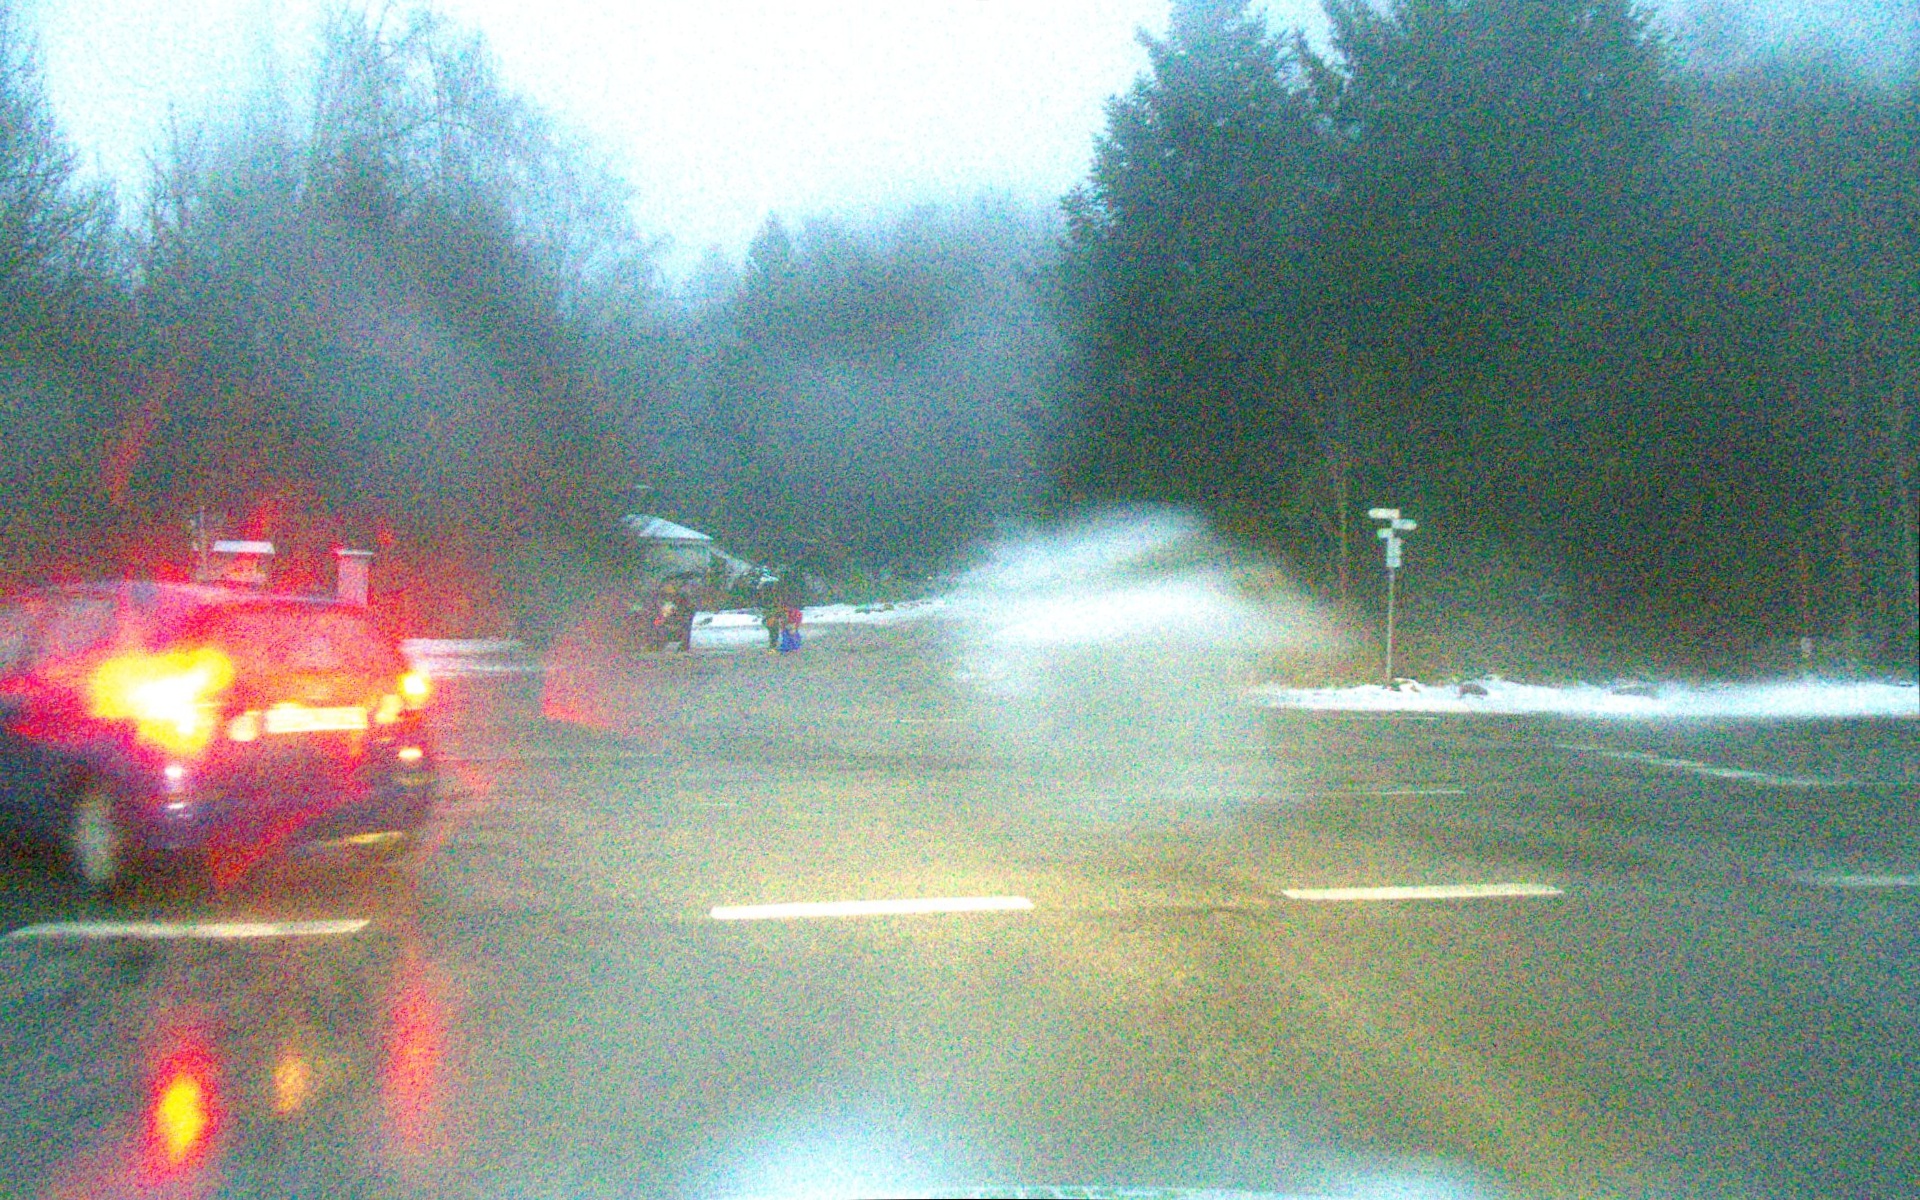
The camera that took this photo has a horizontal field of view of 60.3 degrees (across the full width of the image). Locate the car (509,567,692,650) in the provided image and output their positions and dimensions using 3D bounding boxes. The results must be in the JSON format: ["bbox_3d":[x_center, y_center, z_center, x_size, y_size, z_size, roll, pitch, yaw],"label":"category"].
[{"bbox_3d":[-8.768,0.207,40.519,3.863,1.914,2.001,1,-1,8],"label":"car"}]

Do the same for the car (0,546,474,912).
[{"bbox_3d":[-4.481,0.538,9.022,3.784,1.579,1.689,1,0,40],"label":"car"}]

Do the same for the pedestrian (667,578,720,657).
[{"bbox_3d":[-6.420,0.414,39.843,0.940,1.860,0.925,1,-1,13],"label":"pedestrian"}]
